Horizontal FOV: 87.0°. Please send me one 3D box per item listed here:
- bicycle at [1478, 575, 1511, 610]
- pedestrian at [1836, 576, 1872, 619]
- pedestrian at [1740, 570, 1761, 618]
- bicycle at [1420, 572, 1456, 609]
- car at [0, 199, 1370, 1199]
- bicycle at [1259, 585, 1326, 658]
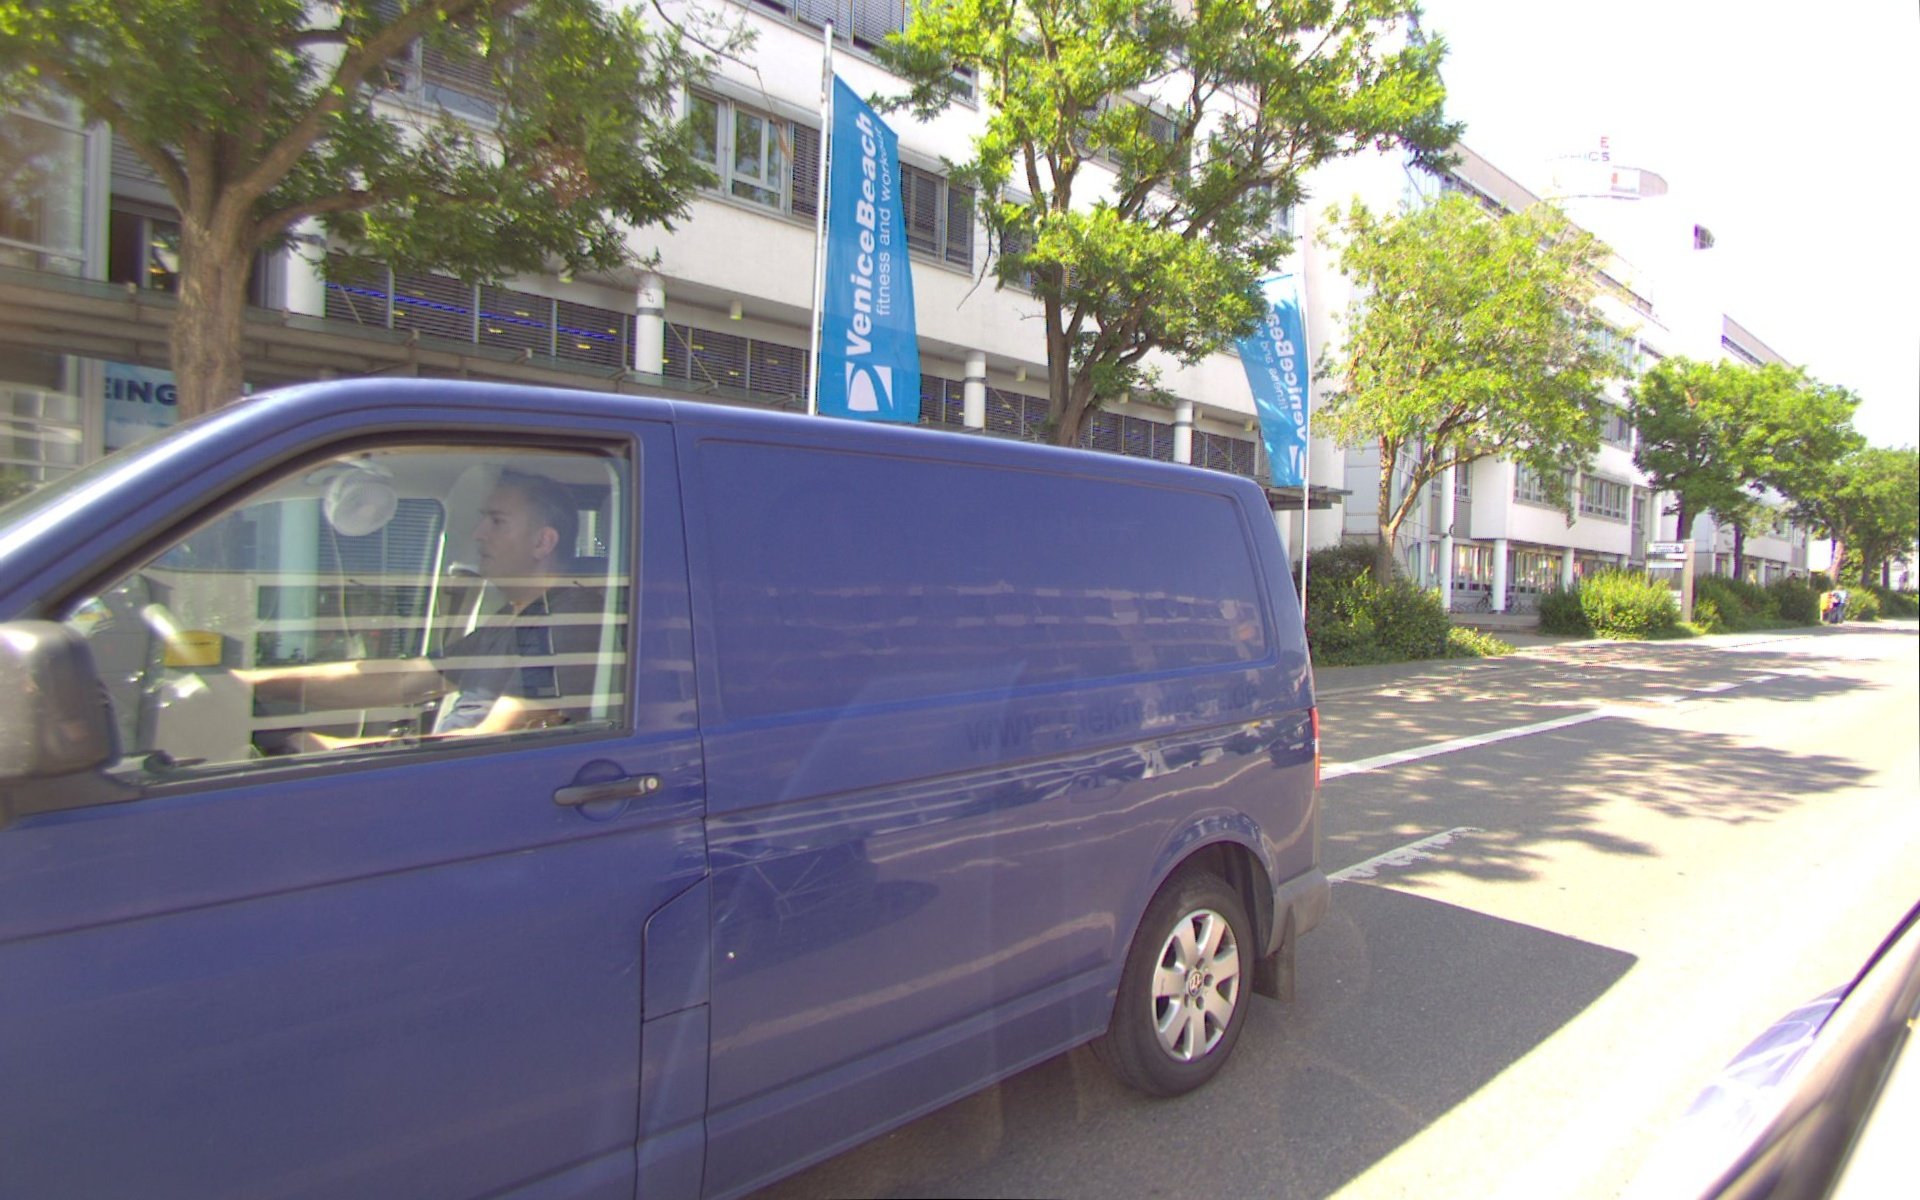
[{"bbox_3d":[21.664,-0.319,40.983,1.851,1.371,0.506,0,1,-40],"label":"bicycle"},{"bbox_3d":[40.625,-0.127,45.984,1.266,1.909,0.943,0,4,-40],"label":"pedestrian"},{"bbox_3d":[42.751,-0.344,54.750,0.704,2.581,0.716,0,1,-41],"label":"pedestrian"},{"bbox_3d":[18.162,-0.371,38.445,1.851,1.371,0.506,0,1,-40],"label":"bicycle"},{"bbox_3d":[-1.087,0.438,2.697,4.804,1.972,1.998,-1,2,-40],"label":"car"},{"bbox_3d":[6.460,0.400,19.613,0.504,1.345,1.856,2,1,42],"label":"bicycle"}]
